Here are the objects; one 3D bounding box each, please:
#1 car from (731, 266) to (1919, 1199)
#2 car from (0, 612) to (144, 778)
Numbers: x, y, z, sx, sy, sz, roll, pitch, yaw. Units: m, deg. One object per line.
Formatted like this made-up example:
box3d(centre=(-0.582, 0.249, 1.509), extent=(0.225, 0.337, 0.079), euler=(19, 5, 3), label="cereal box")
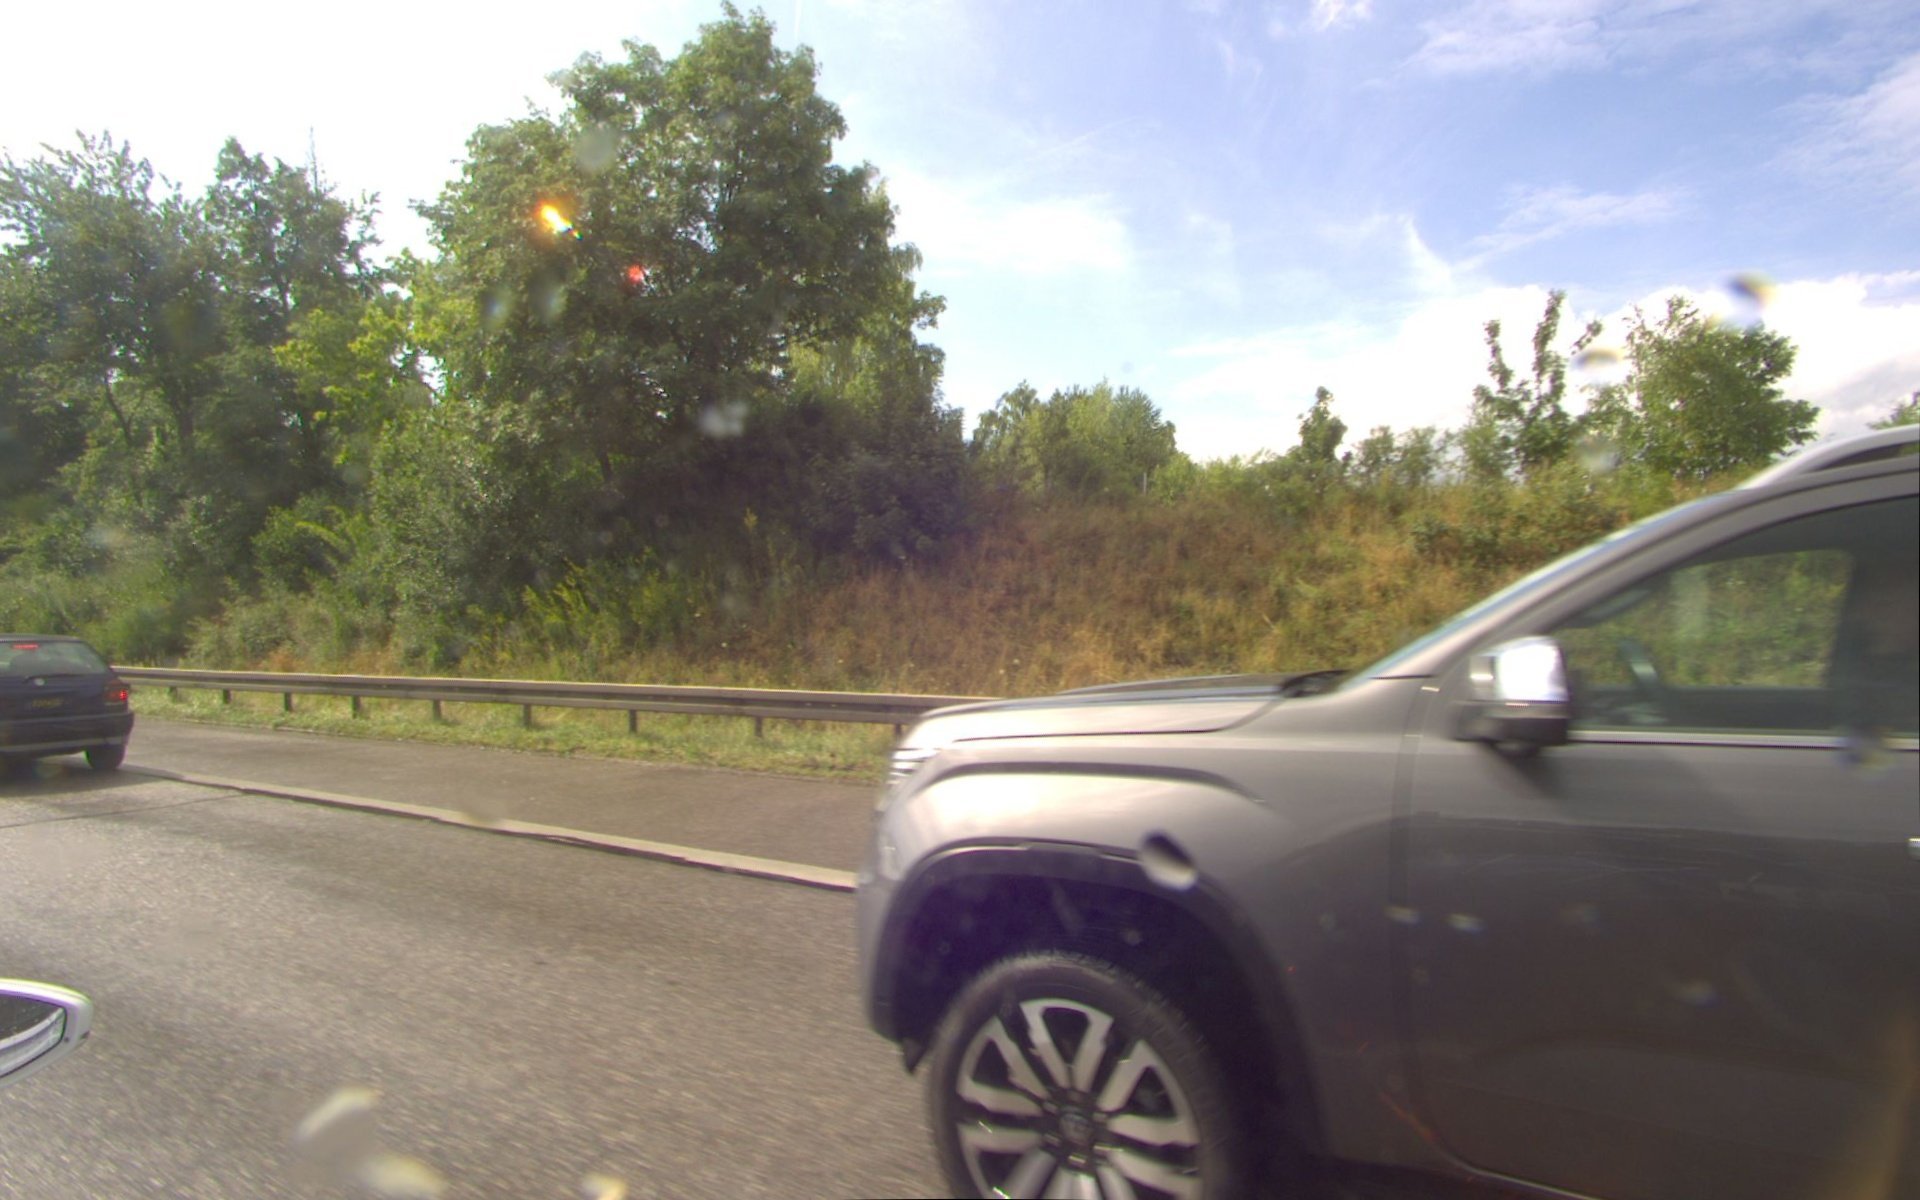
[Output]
box3d(centre=(2.294, 0.508, 2.022), extent=(5.567, 1.943, 1.940), euler=(-1, -2, 30), label="car")
box3d(centre=(-10.419, 0.922, 10.475), extent=(3.915, 1.535, 1.590), euler=(-1, -2, 29), label="car")
